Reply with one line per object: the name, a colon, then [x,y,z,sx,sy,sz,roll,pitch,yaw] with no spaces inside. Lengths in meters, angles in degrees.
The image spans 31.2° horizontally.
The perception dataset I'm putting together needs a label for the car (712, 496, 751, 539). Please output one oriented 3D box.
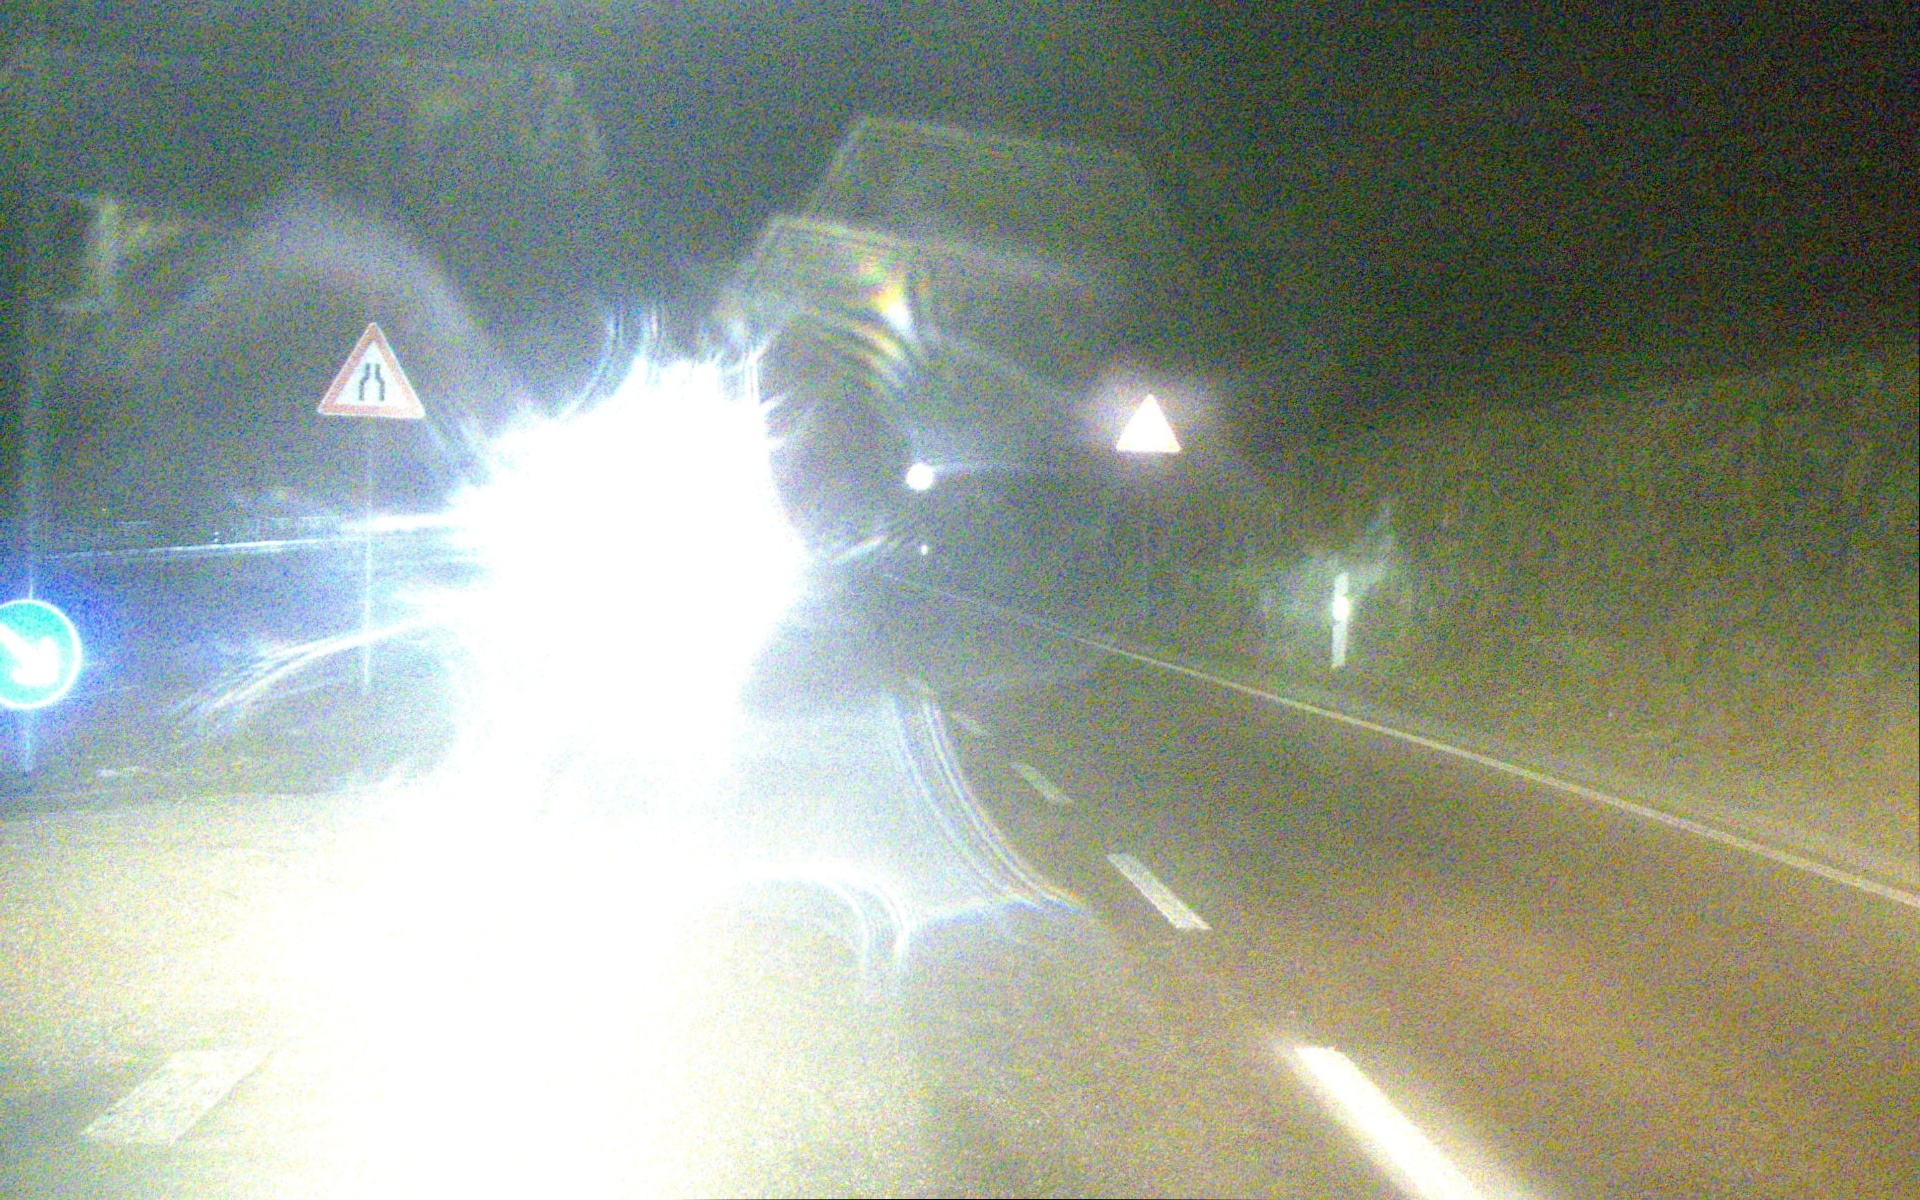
car: [-11.244,-4.048,169.345,1.791,2.015,4.580,1,1,-2]
